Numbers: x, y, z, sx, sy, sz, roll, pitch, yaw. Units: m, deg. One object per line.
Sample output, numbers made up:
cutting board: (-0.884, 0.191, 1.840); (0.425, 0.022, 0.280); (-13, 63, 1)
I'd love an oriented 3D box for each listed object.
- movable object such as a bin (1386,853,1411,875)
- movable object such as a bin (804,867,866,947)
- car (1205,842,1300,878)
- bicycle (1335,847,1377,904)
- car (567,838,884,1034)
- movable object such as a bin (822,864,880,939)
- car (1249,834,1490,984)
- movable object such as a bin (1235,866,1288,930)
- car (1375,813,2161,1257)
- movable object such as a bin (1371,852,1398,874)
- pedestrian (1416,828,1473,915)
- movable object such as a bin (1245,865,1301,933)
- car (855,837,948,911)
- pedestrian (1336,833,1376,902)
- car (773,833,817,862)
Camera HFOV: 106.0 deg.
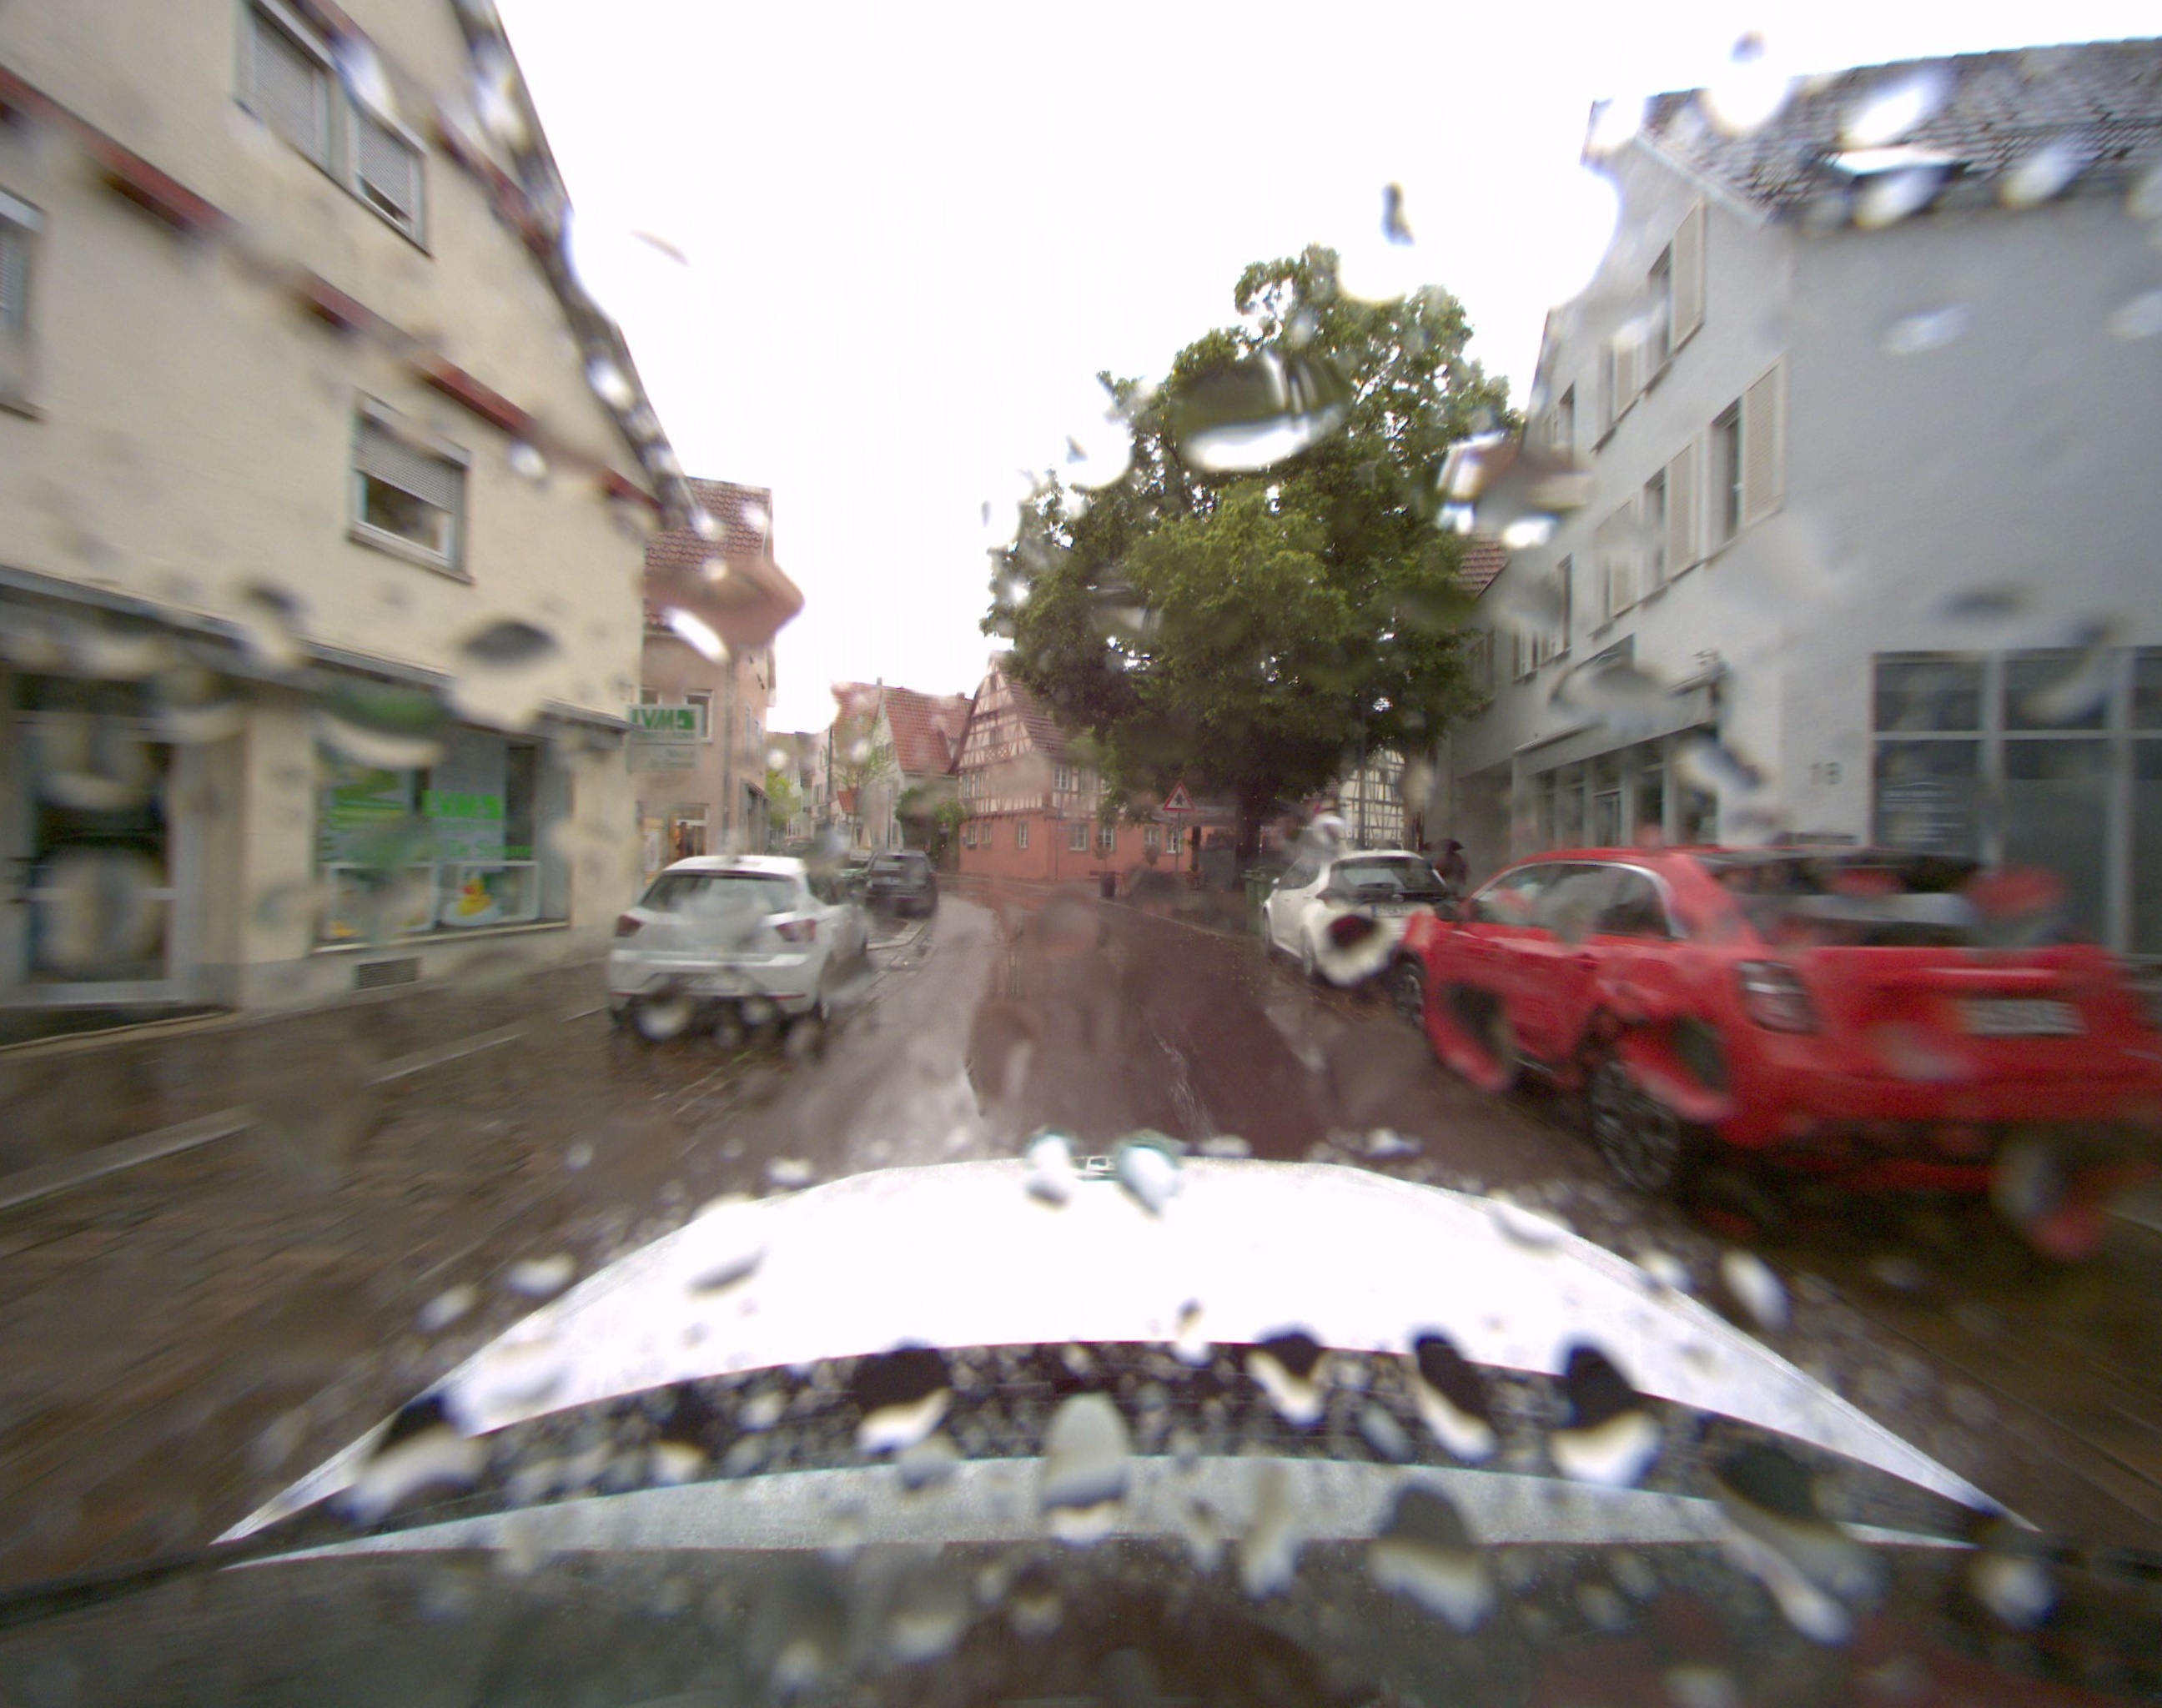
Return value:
movable object such as a bin: (15.156, 0.483, 38.866); (0.700, 1.026, 0.848); (3, -2, -34)
movable object such as a bin: (-3.660, 0.773, 12.152); (0.680, 1.136, 0.719); (1, 0, 0)
car: (8.640, 0.269, 40.961); (4.633, 1.633, 1.980); (0, 2, -33)
bicycle: (6.901, 0.518, 20.521); (0.917, 1.350, 2.225); (-1, 0, 16)
car: (-3.178, 0.600, 8.230); (1.848, 1.452, 4.062); (2, 1, -8)
movable object such as a bin: (-3.652, 0.741, 12.991); (0.698, 1.143, 0.719); (1, 0, -1)
car: (3.431, 0.579, 10.499); (1.781, 1.555, 3.950); (0, 0, 1)
movable object such as a bin: (3.139, 0.765, 14.214); (0.725, 1.083, 0.603); (2, -2, -9)
car: (3.260, 0.671, 4.754); (1.781, 1.469, 3.951); (1, -2, 2)
movable object such as a bin: (14.267, 0.439, 38.317); (0.833, 1.023, 0.848); (3, -2, -34)
pedestrian: (7.344, 0.352, 16.501); (0.879, 1.713, 0.892); (1, -2, 12)
movable object such as a bin: (3.187, 0.747, 13.538); (0.725, 1.093, 0.608); (2, -2, -9)
car: (-4.292, 0.437, 19.386); (1.877, 1.540, 4.380); (2, 0, -13)
pedestrian: (6.926, 0.346, 20.531); (0.903, 1.698, 0.865); (-1, -1, 16)
car: (-19.989, -0.481, 56.756); (1.907, 1.811, 3.959); (3, 0, -33)
